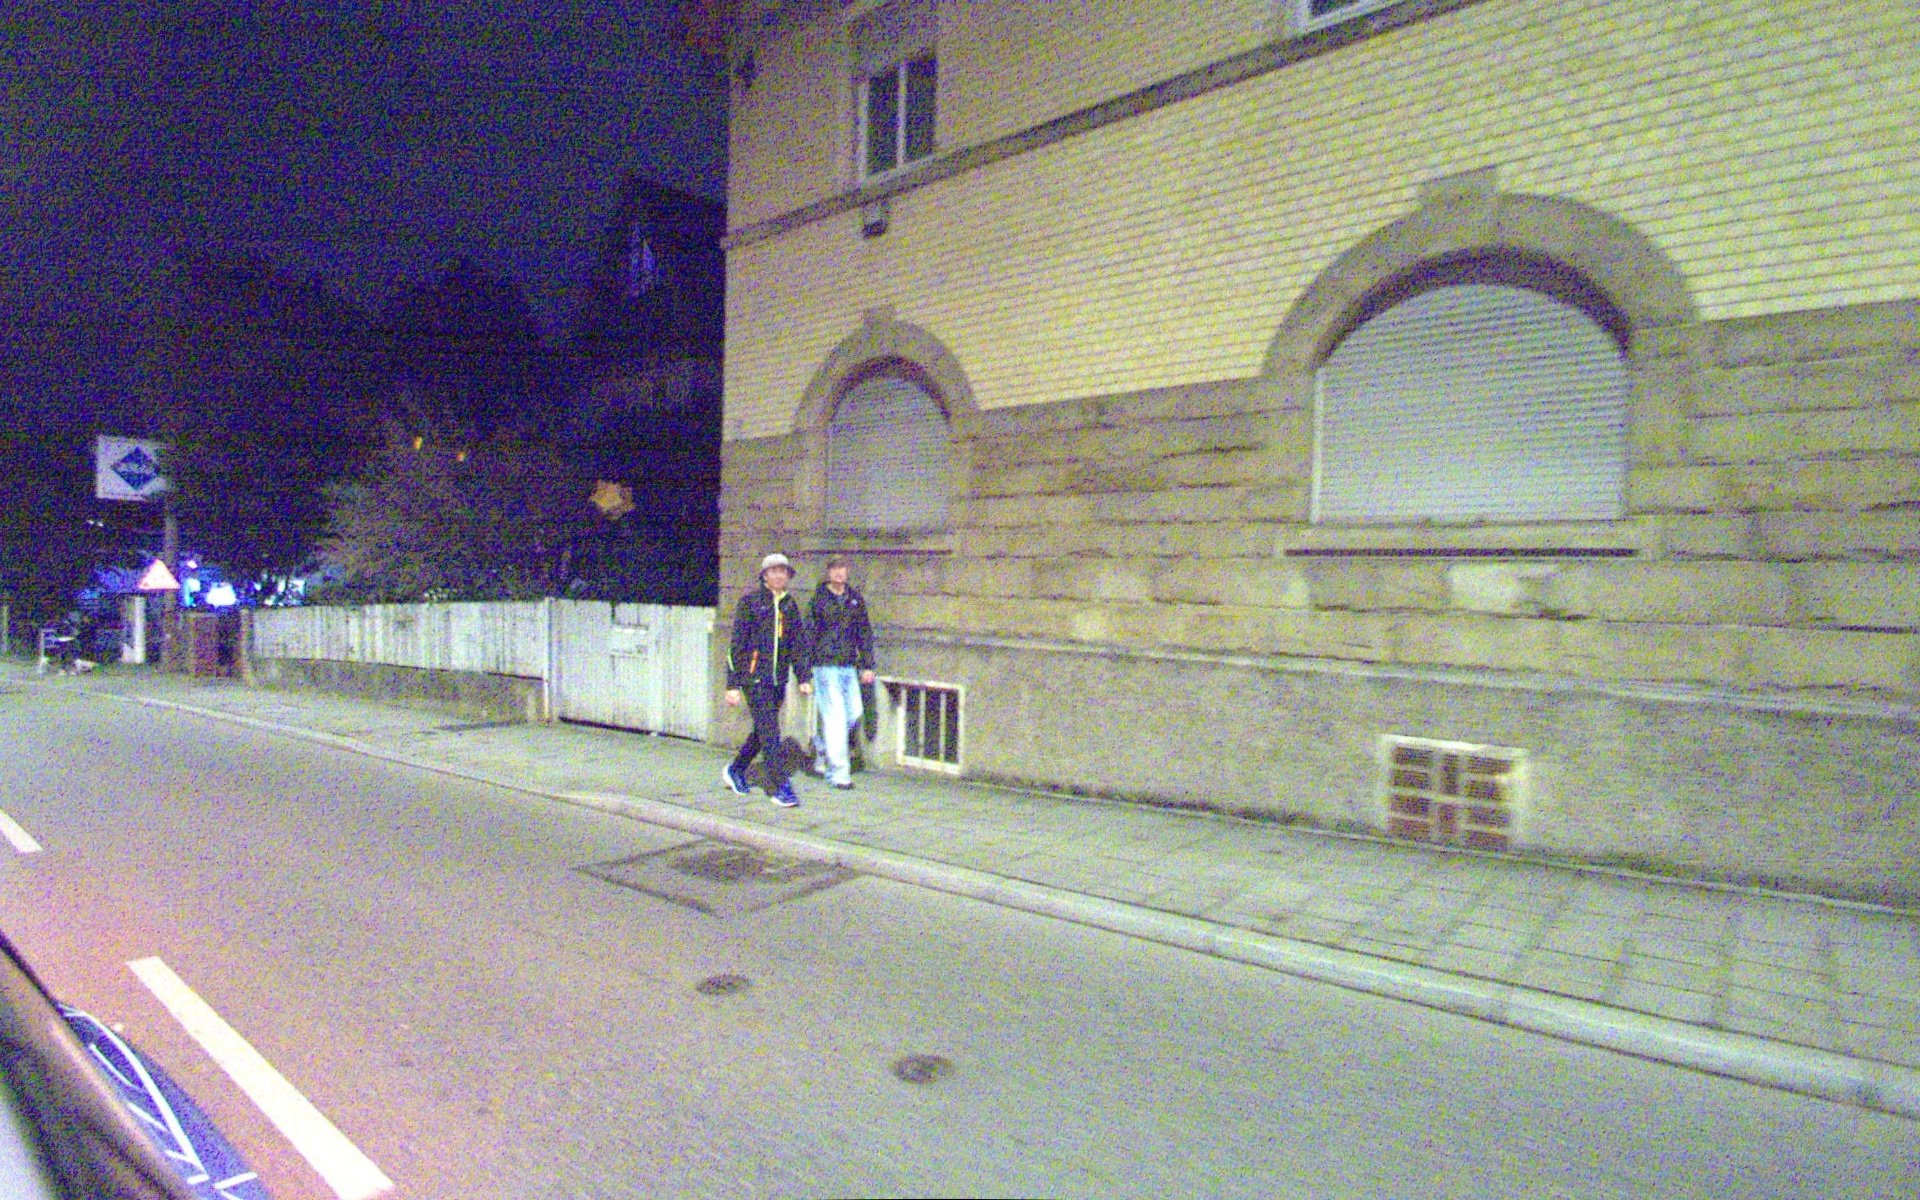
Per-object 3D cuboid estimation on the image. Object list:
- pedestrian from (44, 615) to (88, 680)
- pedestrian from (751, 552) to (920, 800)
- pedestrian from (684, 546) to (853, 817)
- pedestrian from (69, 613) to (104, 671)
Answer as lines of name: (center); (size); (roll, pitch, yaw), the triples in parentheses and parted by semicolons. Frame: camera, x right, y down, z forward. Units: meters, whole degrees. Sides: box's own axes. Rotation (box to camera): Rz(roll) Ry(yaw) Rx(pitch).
pedestrian: (-24.234, 1.267, 27.421); (1.102, 1.684, 0.734); (-1, 0, 40)
pedestrian: (-0.971, 0.544, 7.839); (1.102, 1.758, 0.734); (-1, 0, 40)
pedestrian: (-1.360, 0.534, 7.164); (1.028, 1.758, 0.668); (-1, 0, 40)
pedestrian: (-26.657, 1.269, 30.888); (0.865, 1.739, 0.662); (-2, -1, 38)
